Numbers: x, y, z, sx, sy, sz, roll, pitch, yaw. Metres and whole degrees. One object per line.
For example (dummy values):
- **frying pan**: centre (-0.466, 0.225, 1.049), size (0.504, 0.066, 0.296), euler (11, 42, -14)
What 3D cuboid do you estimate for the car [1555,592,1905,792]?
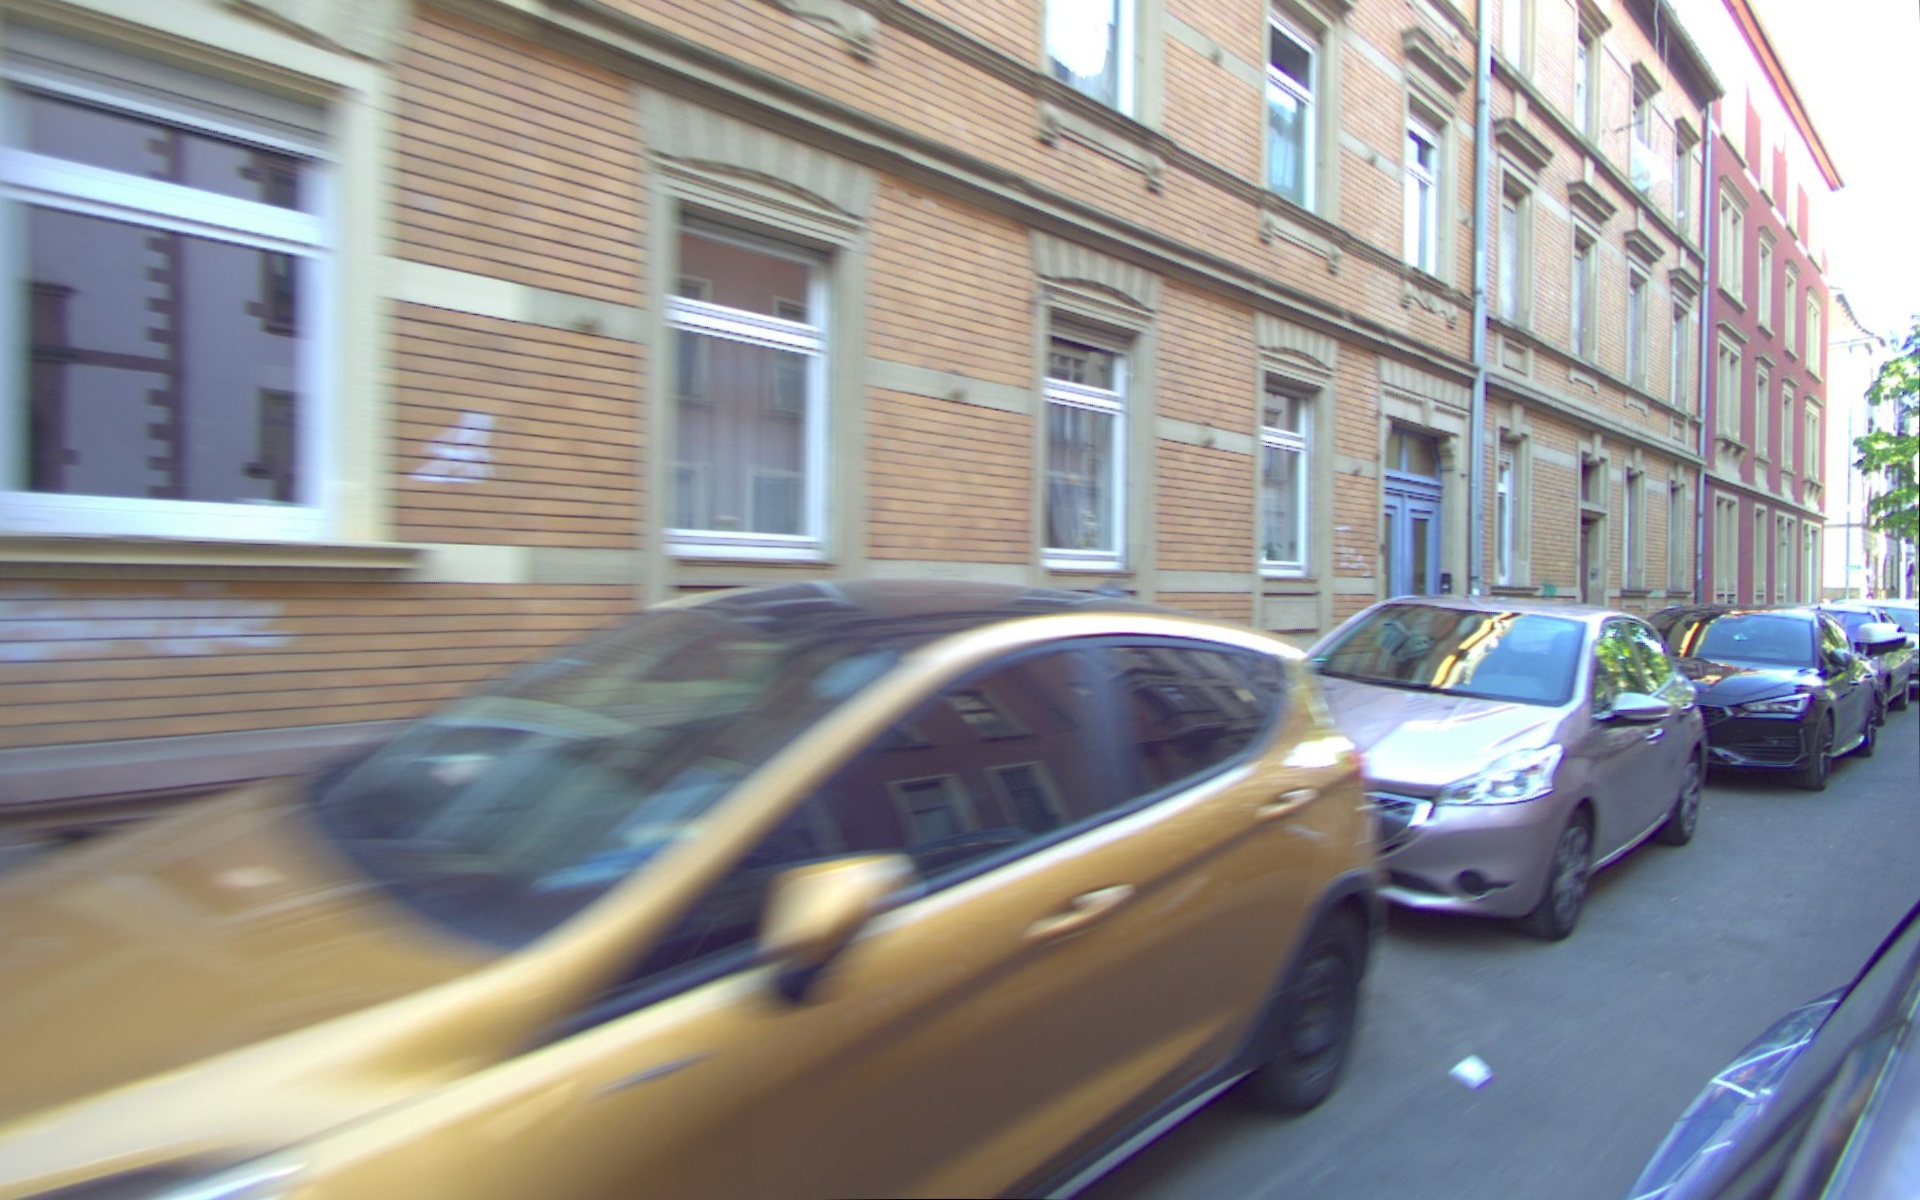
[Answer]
- **car**: centre (7.213, 0.657, 9.313), size (4.242, 1.414, 1.780), euler (0, 0, -41)

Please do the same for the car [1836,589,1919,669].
- **car**: centre (19.290, 0.549, 20.766), size (3.958, 1.498, 1.660), euler (0, 1, -44)

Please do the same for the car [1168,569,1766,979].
- **car**: centre (3.126, 0.638, 5.812), size (4.025, 1.434, 1.728), euler (0, 5, -44)

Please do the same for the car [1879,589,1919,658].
- **car**: centre (22.748, 0.529, 23.486), size (3.998, 1.522, 1.679), euler (0, 0, -41)

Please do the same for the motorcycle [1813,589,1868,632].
- **motorcycle**: centre (33.446, 0.405, 38.432), size (2.571, 1.544, 0.875), euler (1, 0, -33)

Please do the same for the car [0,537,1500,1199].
- **car**: centre (-0.286, 0.649, 2.629), size (4.001, 1.463, 1.756), euler (-1, 4, -44)

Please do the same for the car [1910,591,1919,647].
- **car**: centre (27.051, 0.505, 27.354), size (3.902, 1.481, 1.707), euler (0, 1, -42)

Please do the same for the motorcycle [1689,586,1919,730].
- **motorcycle**: centre (9.838, 0.644, 11.600), size (2.201, 1.556, 0.883), euler (-2, -2, 23)

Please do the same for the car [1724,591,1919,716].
- **car**: centre (11.795, 0.605, 13.583), size (3.923, 1.424, 1.695), euler (0, 1, -41)

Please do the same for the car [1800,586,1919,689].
- **car**: centre (15.431, 0.546, 16.705), size (4.325, 1.502, 1.765), euler (0, 1, -41)

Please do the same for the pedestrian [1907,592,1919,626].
- **pedestrian**: centre (53.276, 0.505, 56.501), size (0.694, 1.868, 0.528), euler (0, 0, -41)
